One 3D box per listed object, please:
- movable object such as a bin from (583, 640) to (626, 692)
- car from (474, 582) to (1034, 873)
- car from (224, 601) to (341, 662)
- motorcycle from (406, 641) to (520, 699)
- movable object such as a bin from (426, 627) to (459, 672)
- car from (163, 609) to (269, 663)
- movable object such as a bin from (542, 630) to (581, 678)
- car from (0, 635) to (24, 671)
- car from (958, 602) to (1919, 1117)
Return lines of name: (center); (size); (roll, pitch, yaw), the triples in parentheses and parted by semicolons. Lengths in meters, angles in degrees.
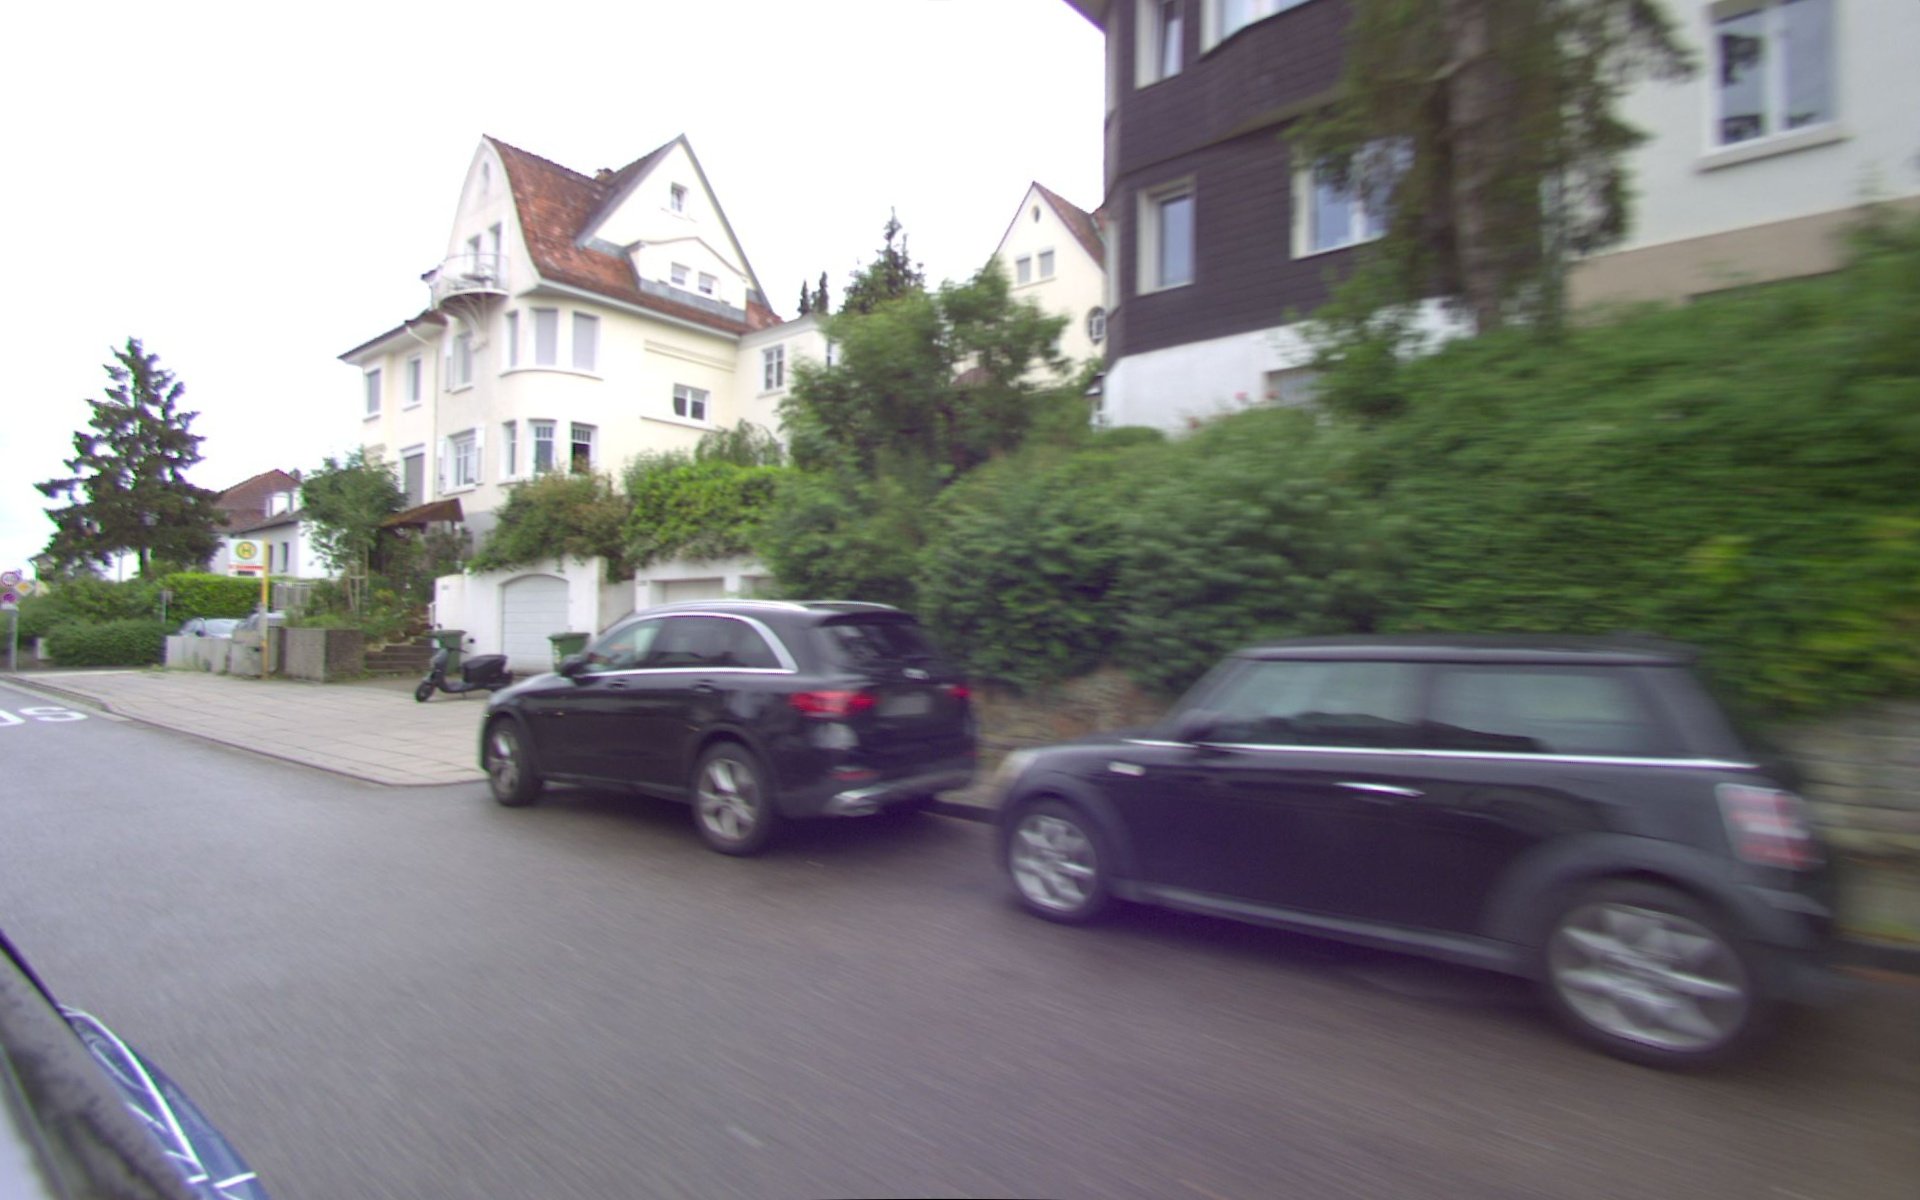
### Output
movable object such as a bin: (-6.755, 1.247, 19.232); (0.512, 0.961, 0.568); (-3, -3, 36)
car: (-1.762, 0.777, 7.809); (4.373, 1.635, 1.875); (-2, -2, 38)
car: (-20.700, 0.994, 30.888); (3.993, 1.709, 1.749); (-3, -3, 37)
motorcycle: (-9.056, 1.256, 18.500); (0.603, 0.910, 1.776); (-1, 0, 40)
movable object such as a bin: (-12.470, 1.195, 24.396); (0.513, 1.066, 0.567); (-4, -4, 41)
car: (-24.487, 1.220, 33.278); (3.993, 1.630, 1.749); (-3, -3, 37)
movable object such as a bin: (-8.107, 1.092, 20.588); (0.512, 0.961, 0.568); (-3, -3, 36)
car: (-56.020, 3.115, 58.641); (4.768, 1.972, 1.974); (-4, -3, 39)
car: (2.044, 0.838, 4.739); (3.812, 1.458, 1.873); (-4, -4, 41)
